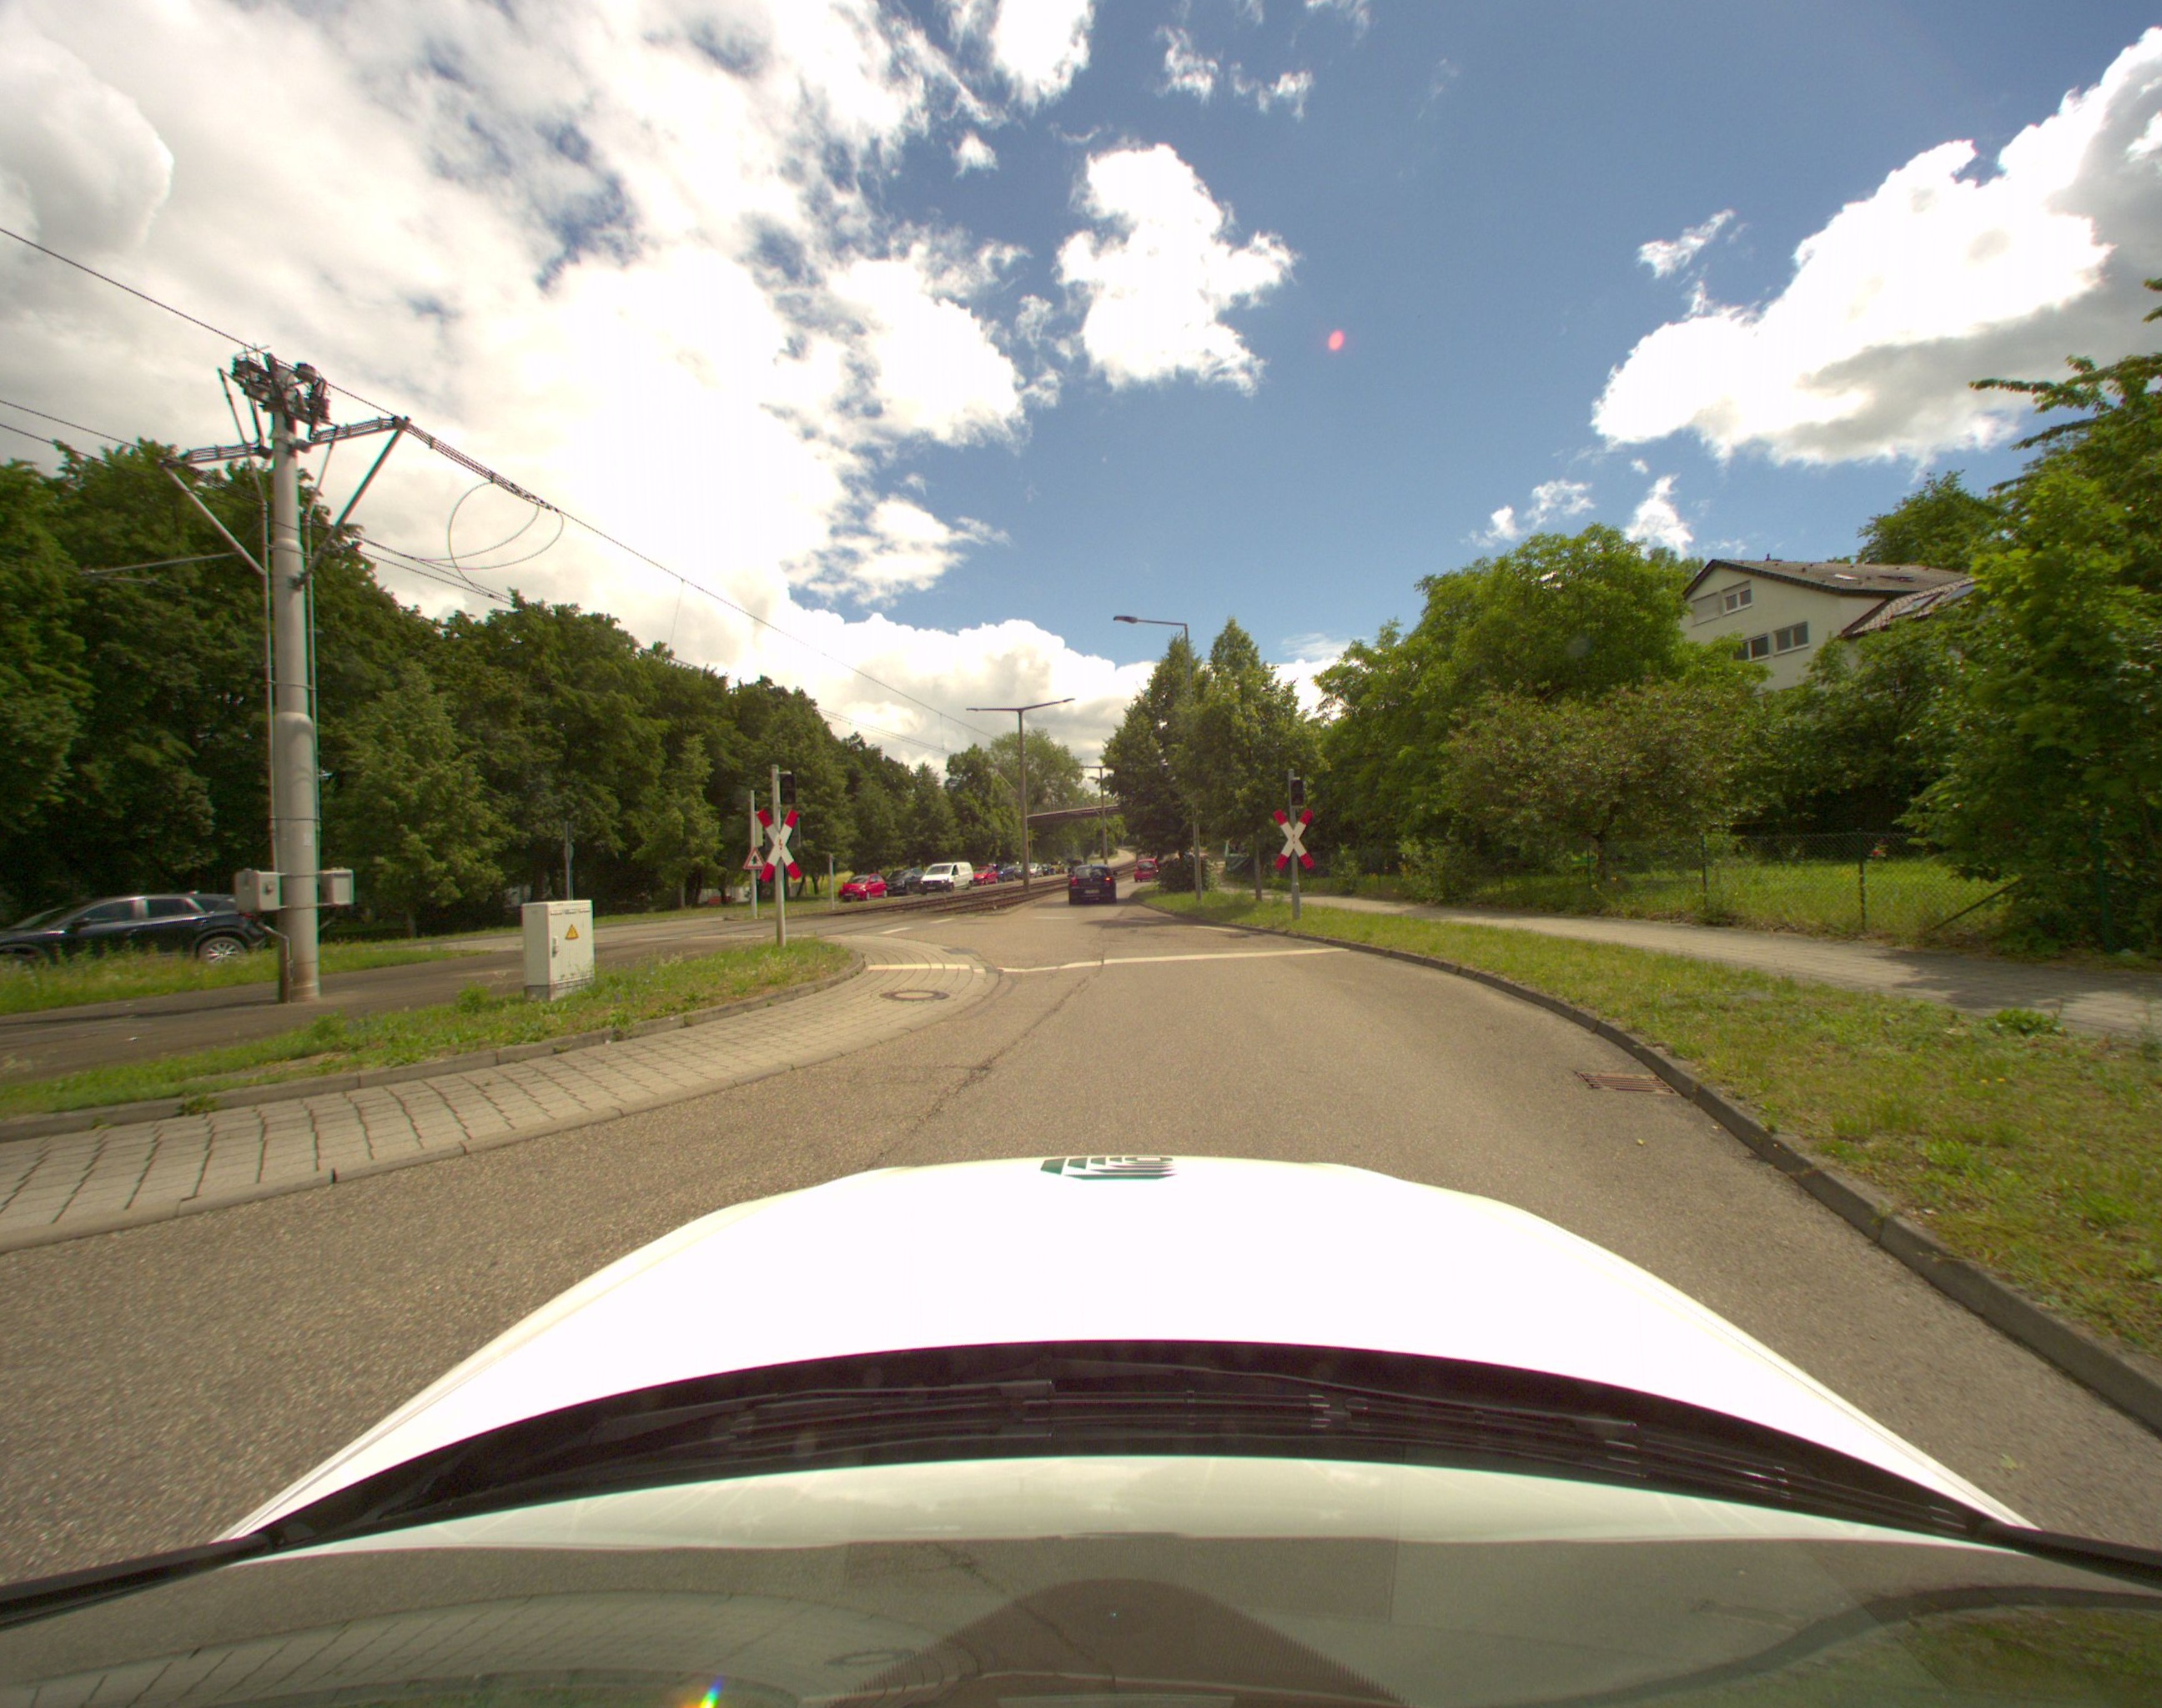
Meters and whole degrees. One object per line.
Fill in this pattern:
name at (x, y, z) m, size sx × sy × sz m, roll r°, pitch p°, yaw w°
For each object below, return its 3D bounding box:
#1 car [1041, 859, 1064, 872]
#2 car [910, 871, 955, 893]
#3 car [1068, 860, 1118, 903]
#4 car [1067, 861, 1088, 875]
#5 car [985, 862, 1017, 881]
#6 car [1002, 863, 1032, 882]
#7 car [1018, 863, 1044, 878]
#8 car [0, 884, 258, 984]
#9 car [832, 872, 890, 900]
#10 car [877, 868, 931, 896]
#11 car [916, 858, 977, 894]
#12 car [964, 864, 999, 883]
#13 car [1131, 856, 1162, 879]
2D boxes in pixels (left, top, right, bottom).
car at (-3.096, 1.284, 89.696) m, size 1.678 × 1.450 × 3.910 m, roll -1°, pitch -2°, yaw 11°
car at (-9.948, 1.869, 54.862) m, size 1.602 × 1.461 × 4.020 m, roll -1°, pitch -2°, yaw 11°
car at (0.511, 0.966, 30.285) m, size 1.701 × 1.460 × 3.963 m, roll -1°, pitch 0°, yaw 3°
car at (-0.405, 1.582, 91.896) m, size 1.603 × 1.574 × 4.011 m, roll -1°, pitch -1°, yaw 10°
car at (-6.924, 1.552, 70.698) m, size 1.547 × 1.596 × 4.173 m, roll -1°, pitch -2°, yaw 11°
car at (-5.976, 1.732, 75.982) m, size 1.632 × 1.622 × 4.138 m, roll -3°, pitch -1°, yaw 11°
car at (-4.994, 1.633, 81.686) m, size 1.583 × 1.494 × 4.203 m, roll -1°, pitch -1°, yaw 10°
car at (-18.966, 1.482, 15.424) m, size 1.838 × 1.585 × 4.347 m, roll -4°, pitch -1°, yaw 20°
car at (-12.100, 1.760, 45.003) m, size 1.602 × 1.452 × 3.673 m, roll -1°, pitch -2°, yaw 11°
car at (-10.878, 1.704, 50.296) m, size 1.570 × 1.605 × 4.388 m, roll -1°, pitch -2°, yaw 11°
car at (-8.096, 1.333, 49.569) m, size 1.862 × 2.019 × 5.251 m, roll -1°, pitch -2°, yaw 11°
car at (-7.962, 1.592, 65.580) m, size 1.602 × 1.494 × 4.060 m, roll -1°, pitch -2°, yaw 11°
car at (4.369, 0.926, 54.012) m, size 1.613 × 1.443 × 3.432 m, roll -1°, pitch -1°, yaw 12°
